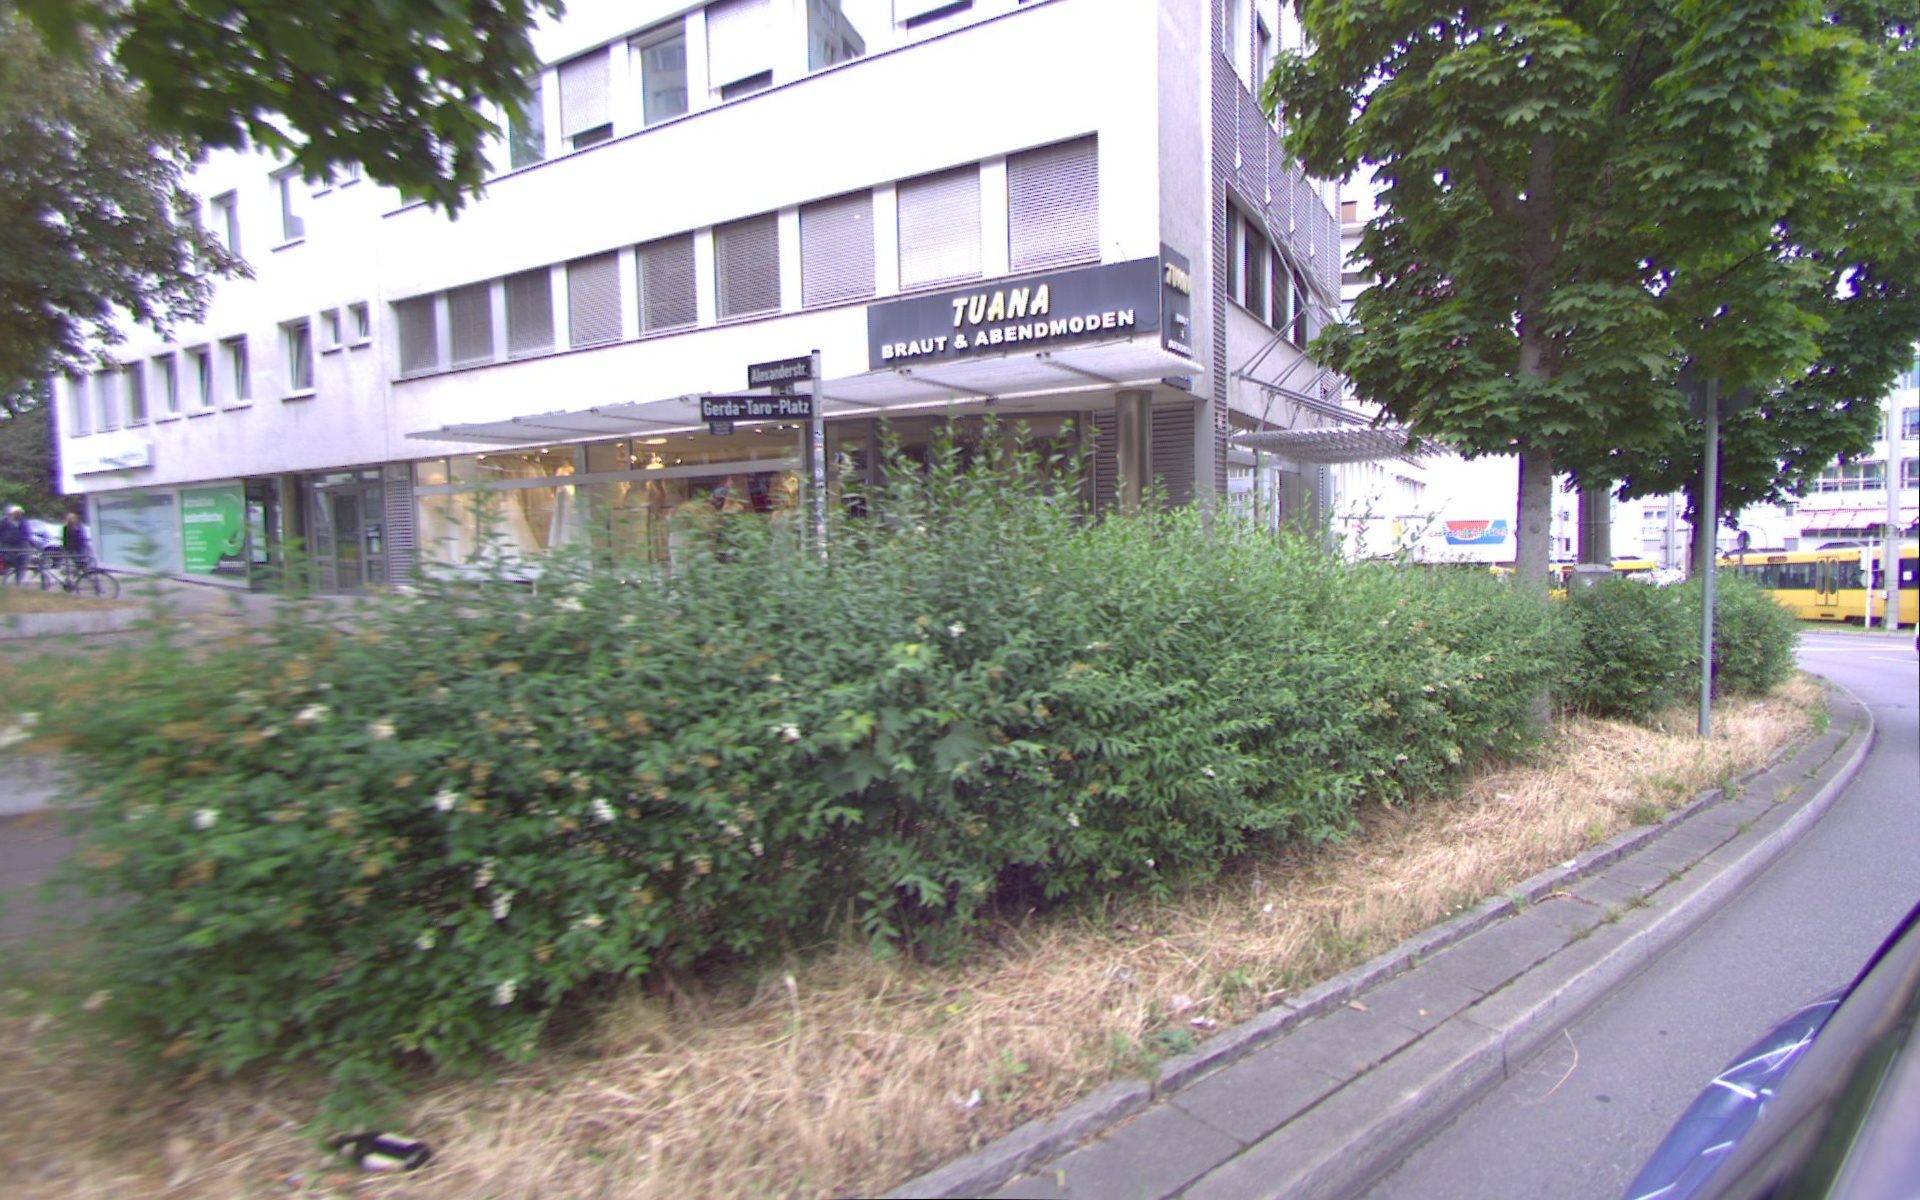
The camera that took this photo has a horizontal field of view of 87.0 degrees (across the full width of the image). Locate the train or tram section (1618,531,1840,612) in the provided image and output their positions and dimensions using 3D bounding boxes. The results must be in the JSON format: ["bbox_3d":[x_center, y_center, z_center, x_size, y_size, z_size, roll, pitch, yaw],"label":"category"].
[{"bbox_3d":[40.830,-1.481,54.778,2.842,3.709,14.200,-2,1,8],"label":"train or tram section"}]

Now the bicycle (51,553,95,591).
[{"bbox_3d":[-20.927,-0.661,23.860,1.534,0.869,0.513,2,1,38],"label":"bicycle"}]

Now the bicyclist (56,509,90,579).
[{"bbox_3d":[-20.895,-1.304,23.837,0.593,1.622,0.506,1,1,38],"label":"bicyclist"}]

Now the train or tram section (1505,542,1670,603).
[{"bbox_3d":[42.179,-1.910,68.948,2.879,3.602,14.223,-3,2,3],"label":"train or tram section"}]

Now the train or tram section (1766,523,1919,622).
[{"bbox_3d":[38.108,-1.142,40.996,2.848,3.709,14.171,-1,1,14],"label":"train or tram section"}]

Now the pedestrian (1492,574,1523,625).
[{"bbox_3d":[20.349,-0.029,37.606,0.830,1.834,1.136,-4,-2,35],"label":"pedestrian"}]

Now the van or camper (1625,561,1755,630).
[{"bbox_3d":[30.309,-0.256,42.310,2.178,2.590,6.345,-3,1,15],"label":"van or camper"}]

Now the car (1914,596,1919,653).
[{"bbox_3d":[25.192,0.686,24.422,1.879,1.493,4.490,-2,1,27],"label":"car"}]

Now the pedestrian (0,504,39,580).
[{"bbox_3d":[-21.969,-1.323,23.410,0.876,1.722,0.865,1,2,38],"label":"pedestrian"}]

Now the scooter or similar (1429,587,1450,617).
[{"bbox_3d":[24.761,0.098,52.279,0.659,1.494,1.174,-1,0,12],"label":"scooter or similar"}]

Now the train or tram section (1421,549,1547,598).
[{"bbox_3d":[42.587,-2.076,83.151,2.837,3.484,14.229,-3,1,0],"label":"train or tram section"}]

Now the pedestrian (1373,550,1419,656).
[{"bbox_3d":[7.672,0.051,17.817,0.669,1.817,0.602,-1,0,30],"label":"pedestrian"}]
